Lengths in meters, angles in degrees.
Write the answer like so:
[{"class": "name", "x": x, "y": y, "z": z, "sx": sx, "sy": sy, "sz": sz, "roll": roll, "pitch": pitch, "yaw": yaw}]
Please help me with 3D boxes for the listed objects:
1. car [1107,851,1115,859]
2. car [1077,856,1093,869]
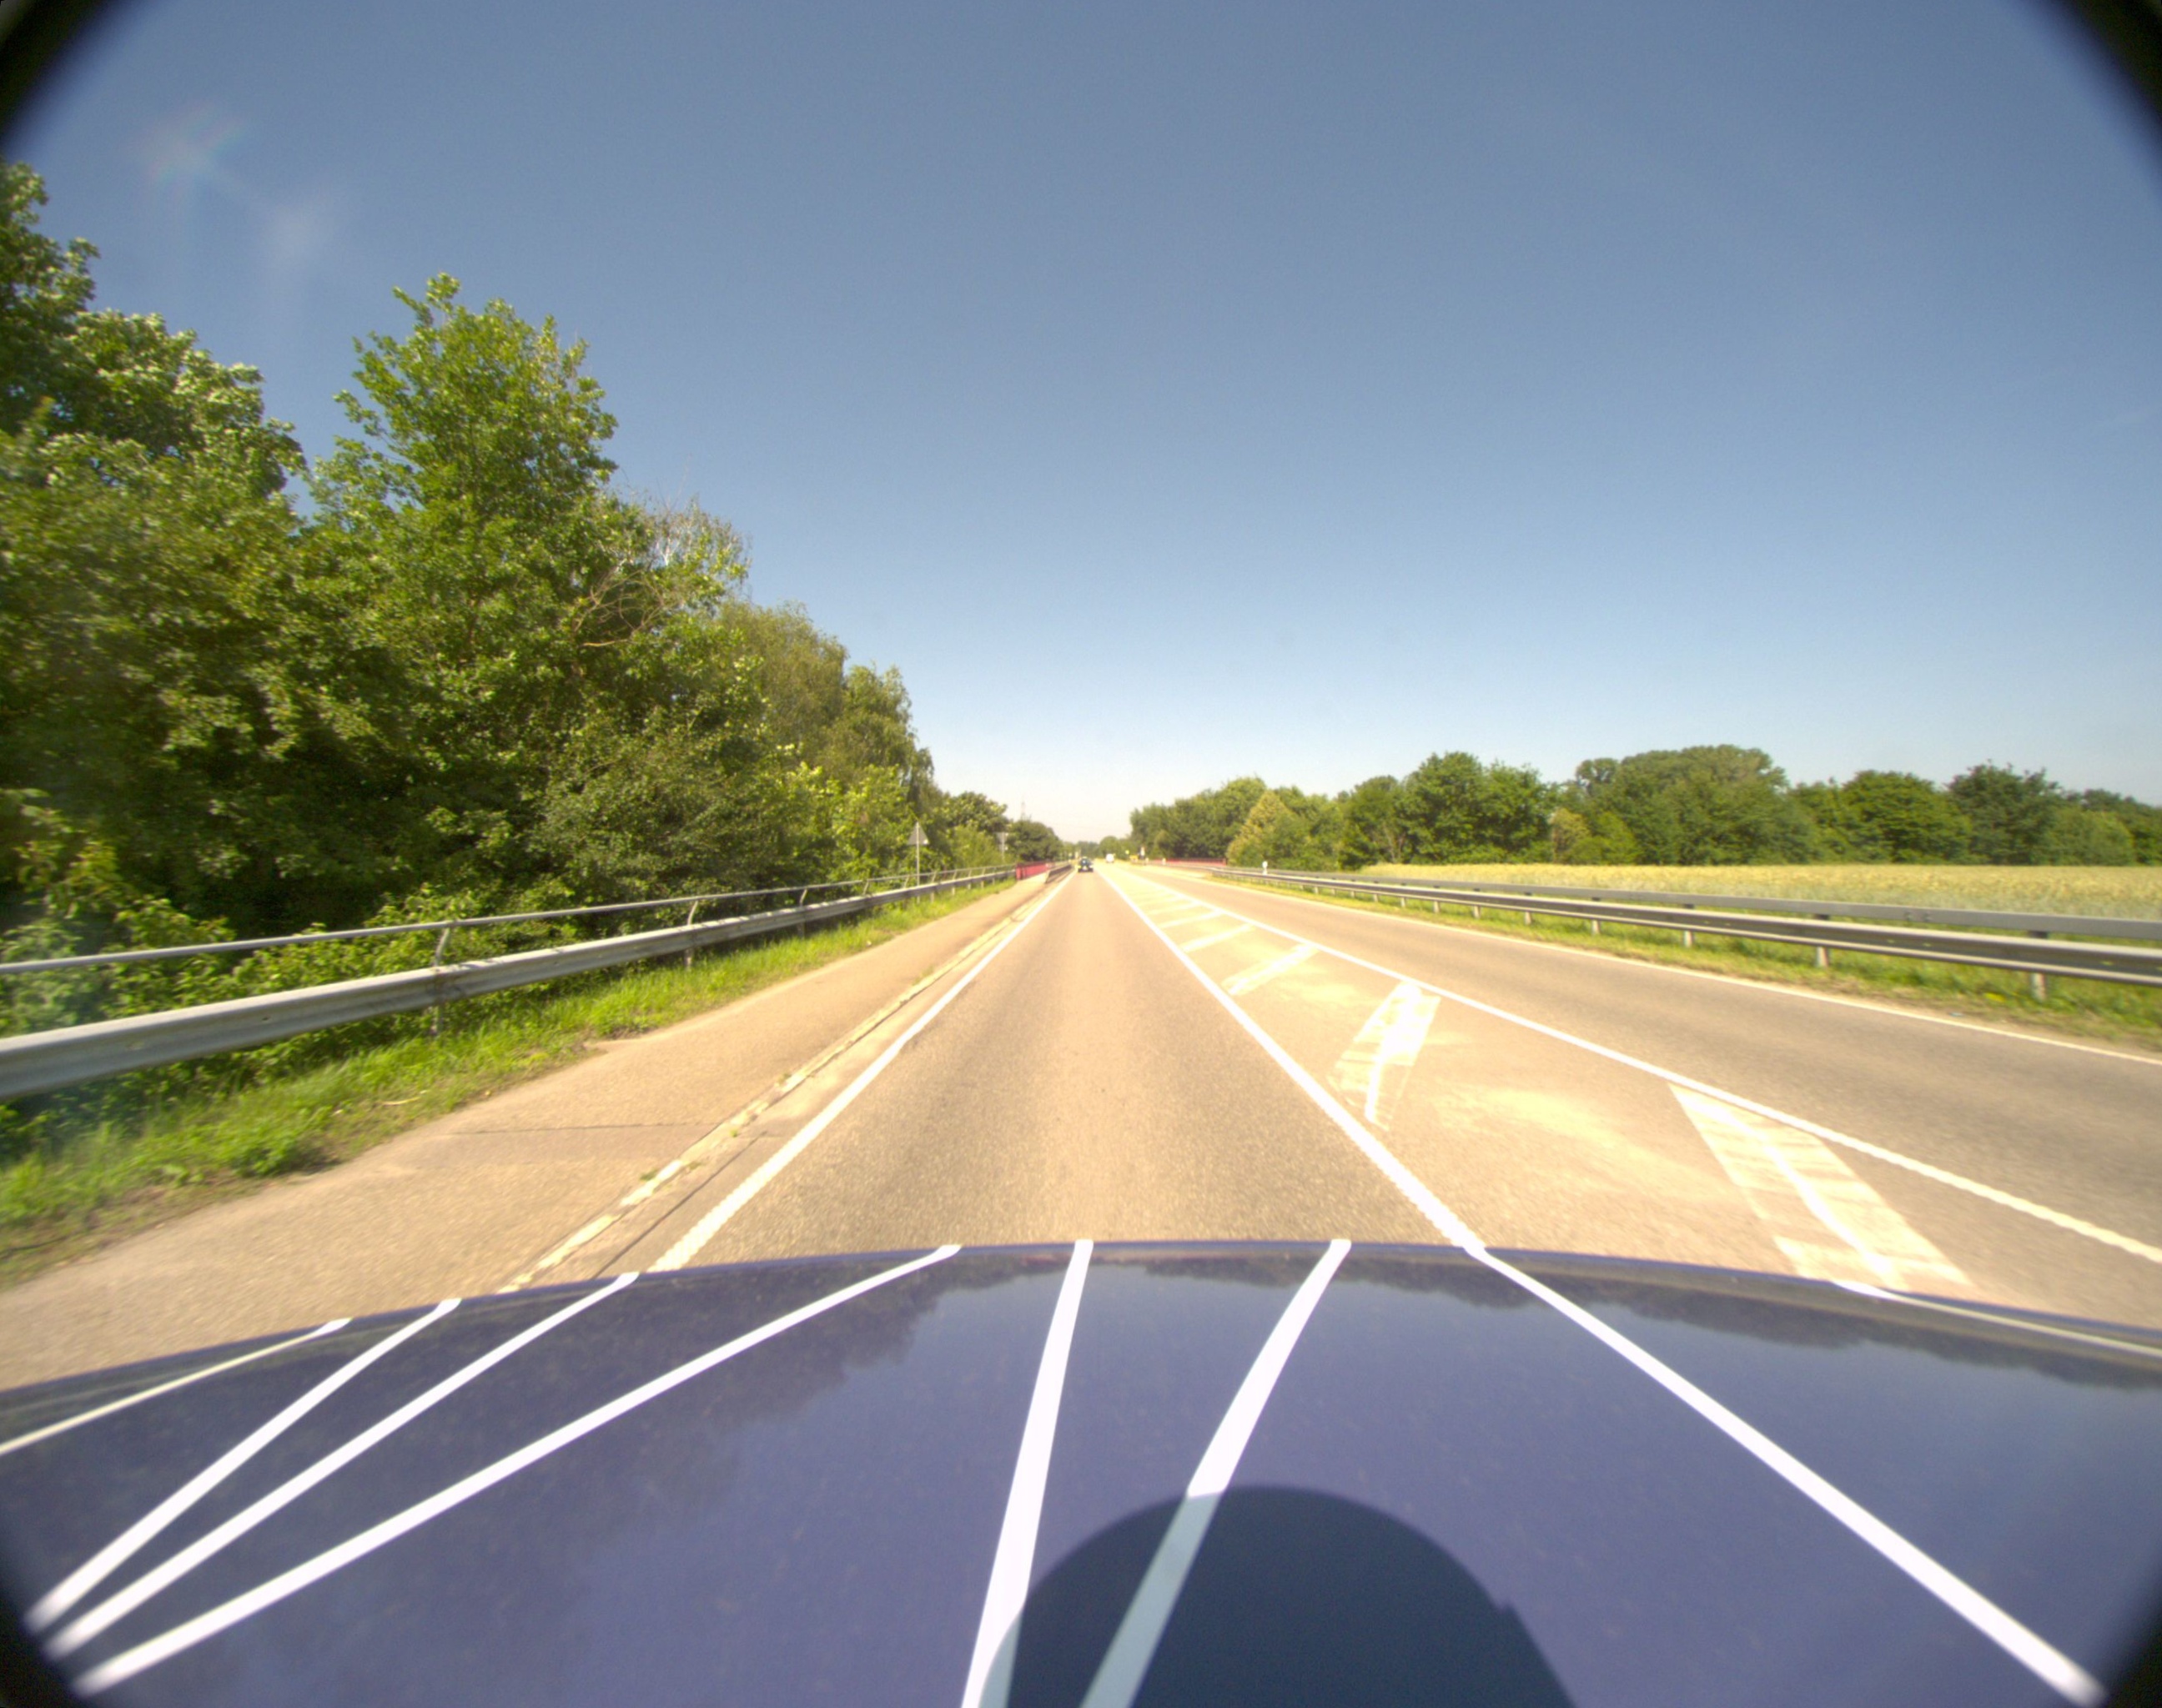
[{"class": "car", "x": 8.405, "y": 0.192, "z": 213.428, "sx": 1.895, "sy": 2.214, "sz": 7.232, "roll": -2, "pitch": 0, "yaw": 2}, {"class": "car", "x": 0.465, "y": 0.935, "z": 88.498, "sx": 1.806, "sy": 1.390, "sz": 4.180, "roll": -2, "pitch": 0, "yaw": 1}]
